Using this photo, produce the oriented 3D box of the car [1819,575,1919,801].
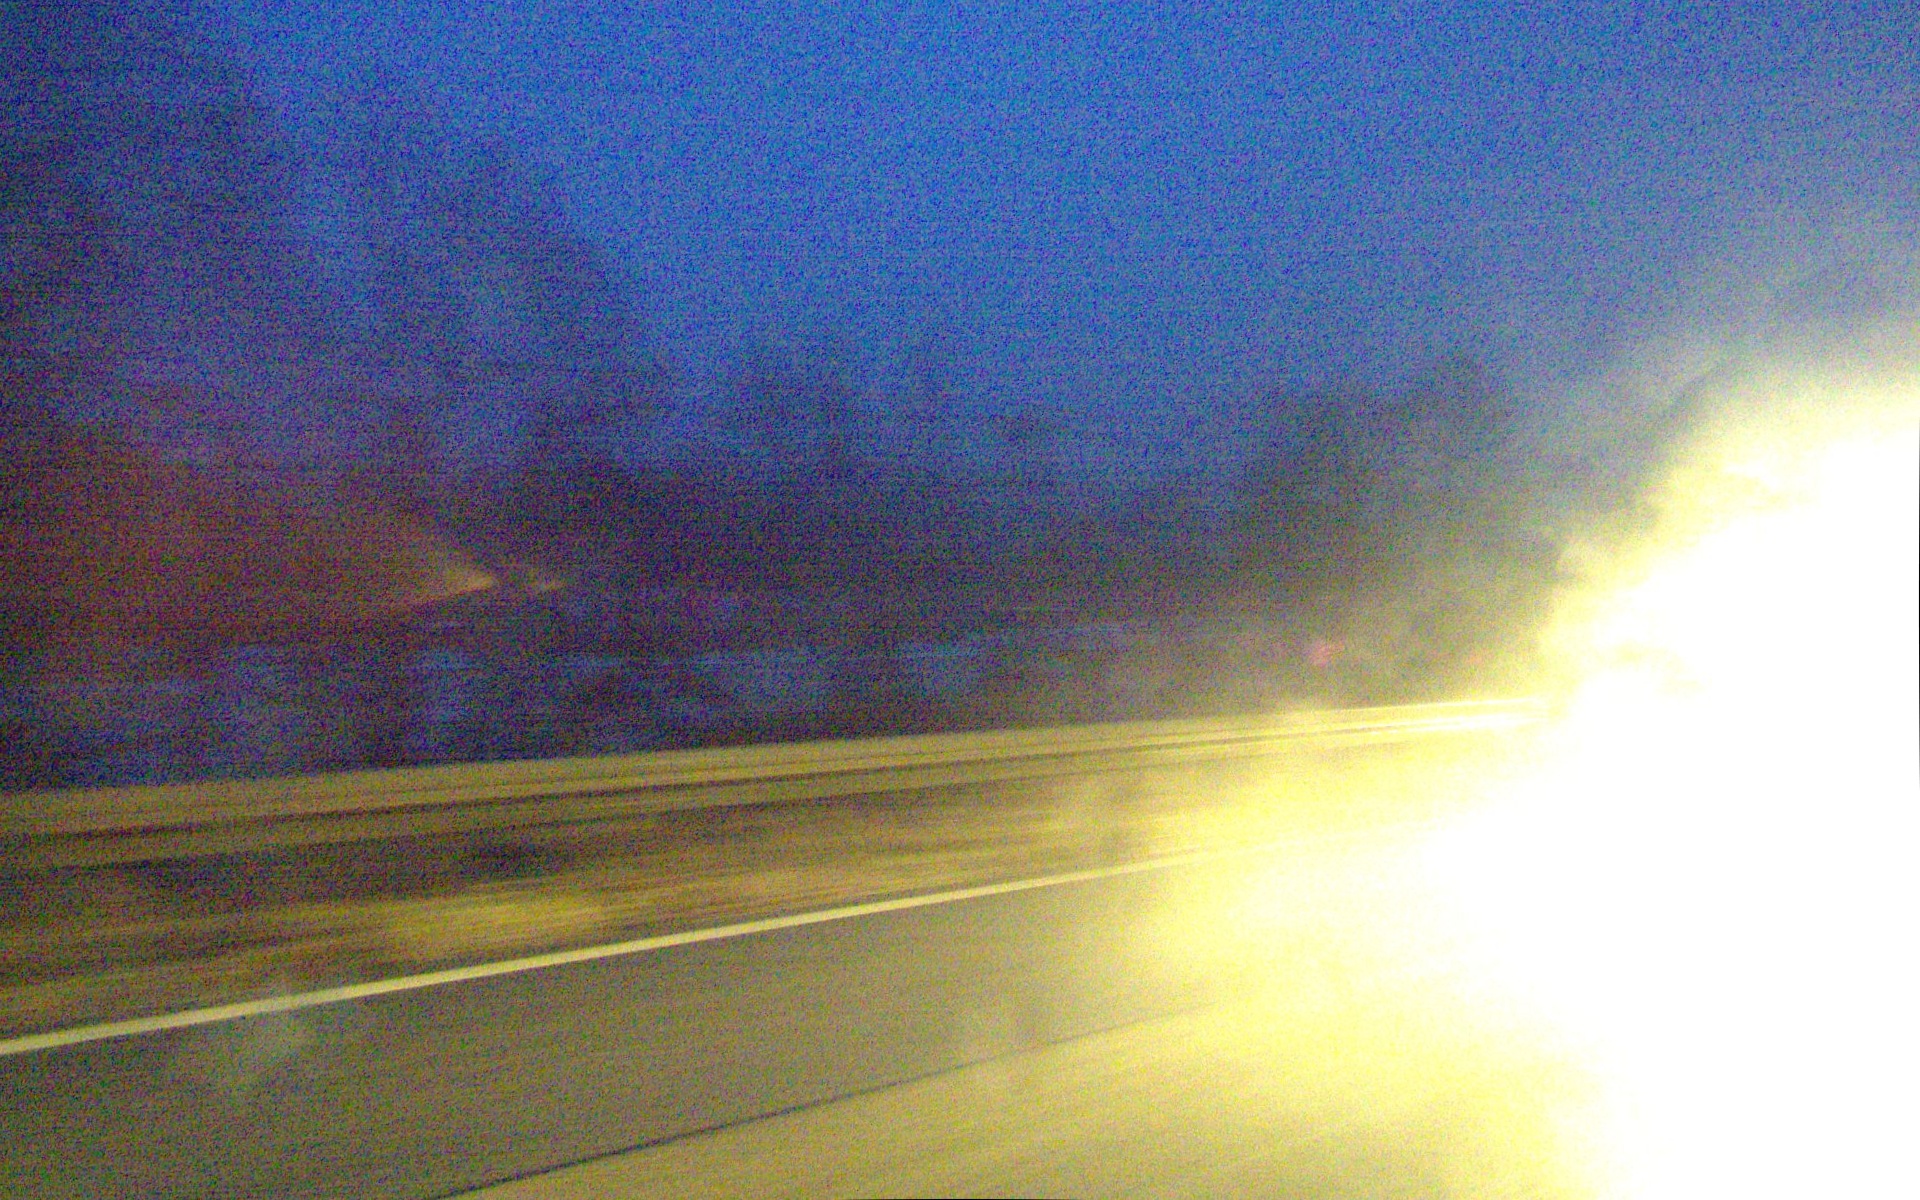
[{"bbox_3d":[9.739,0.710,9.109,3.954,1.868,1.827,0,-1,-32],"label":"car"}]
